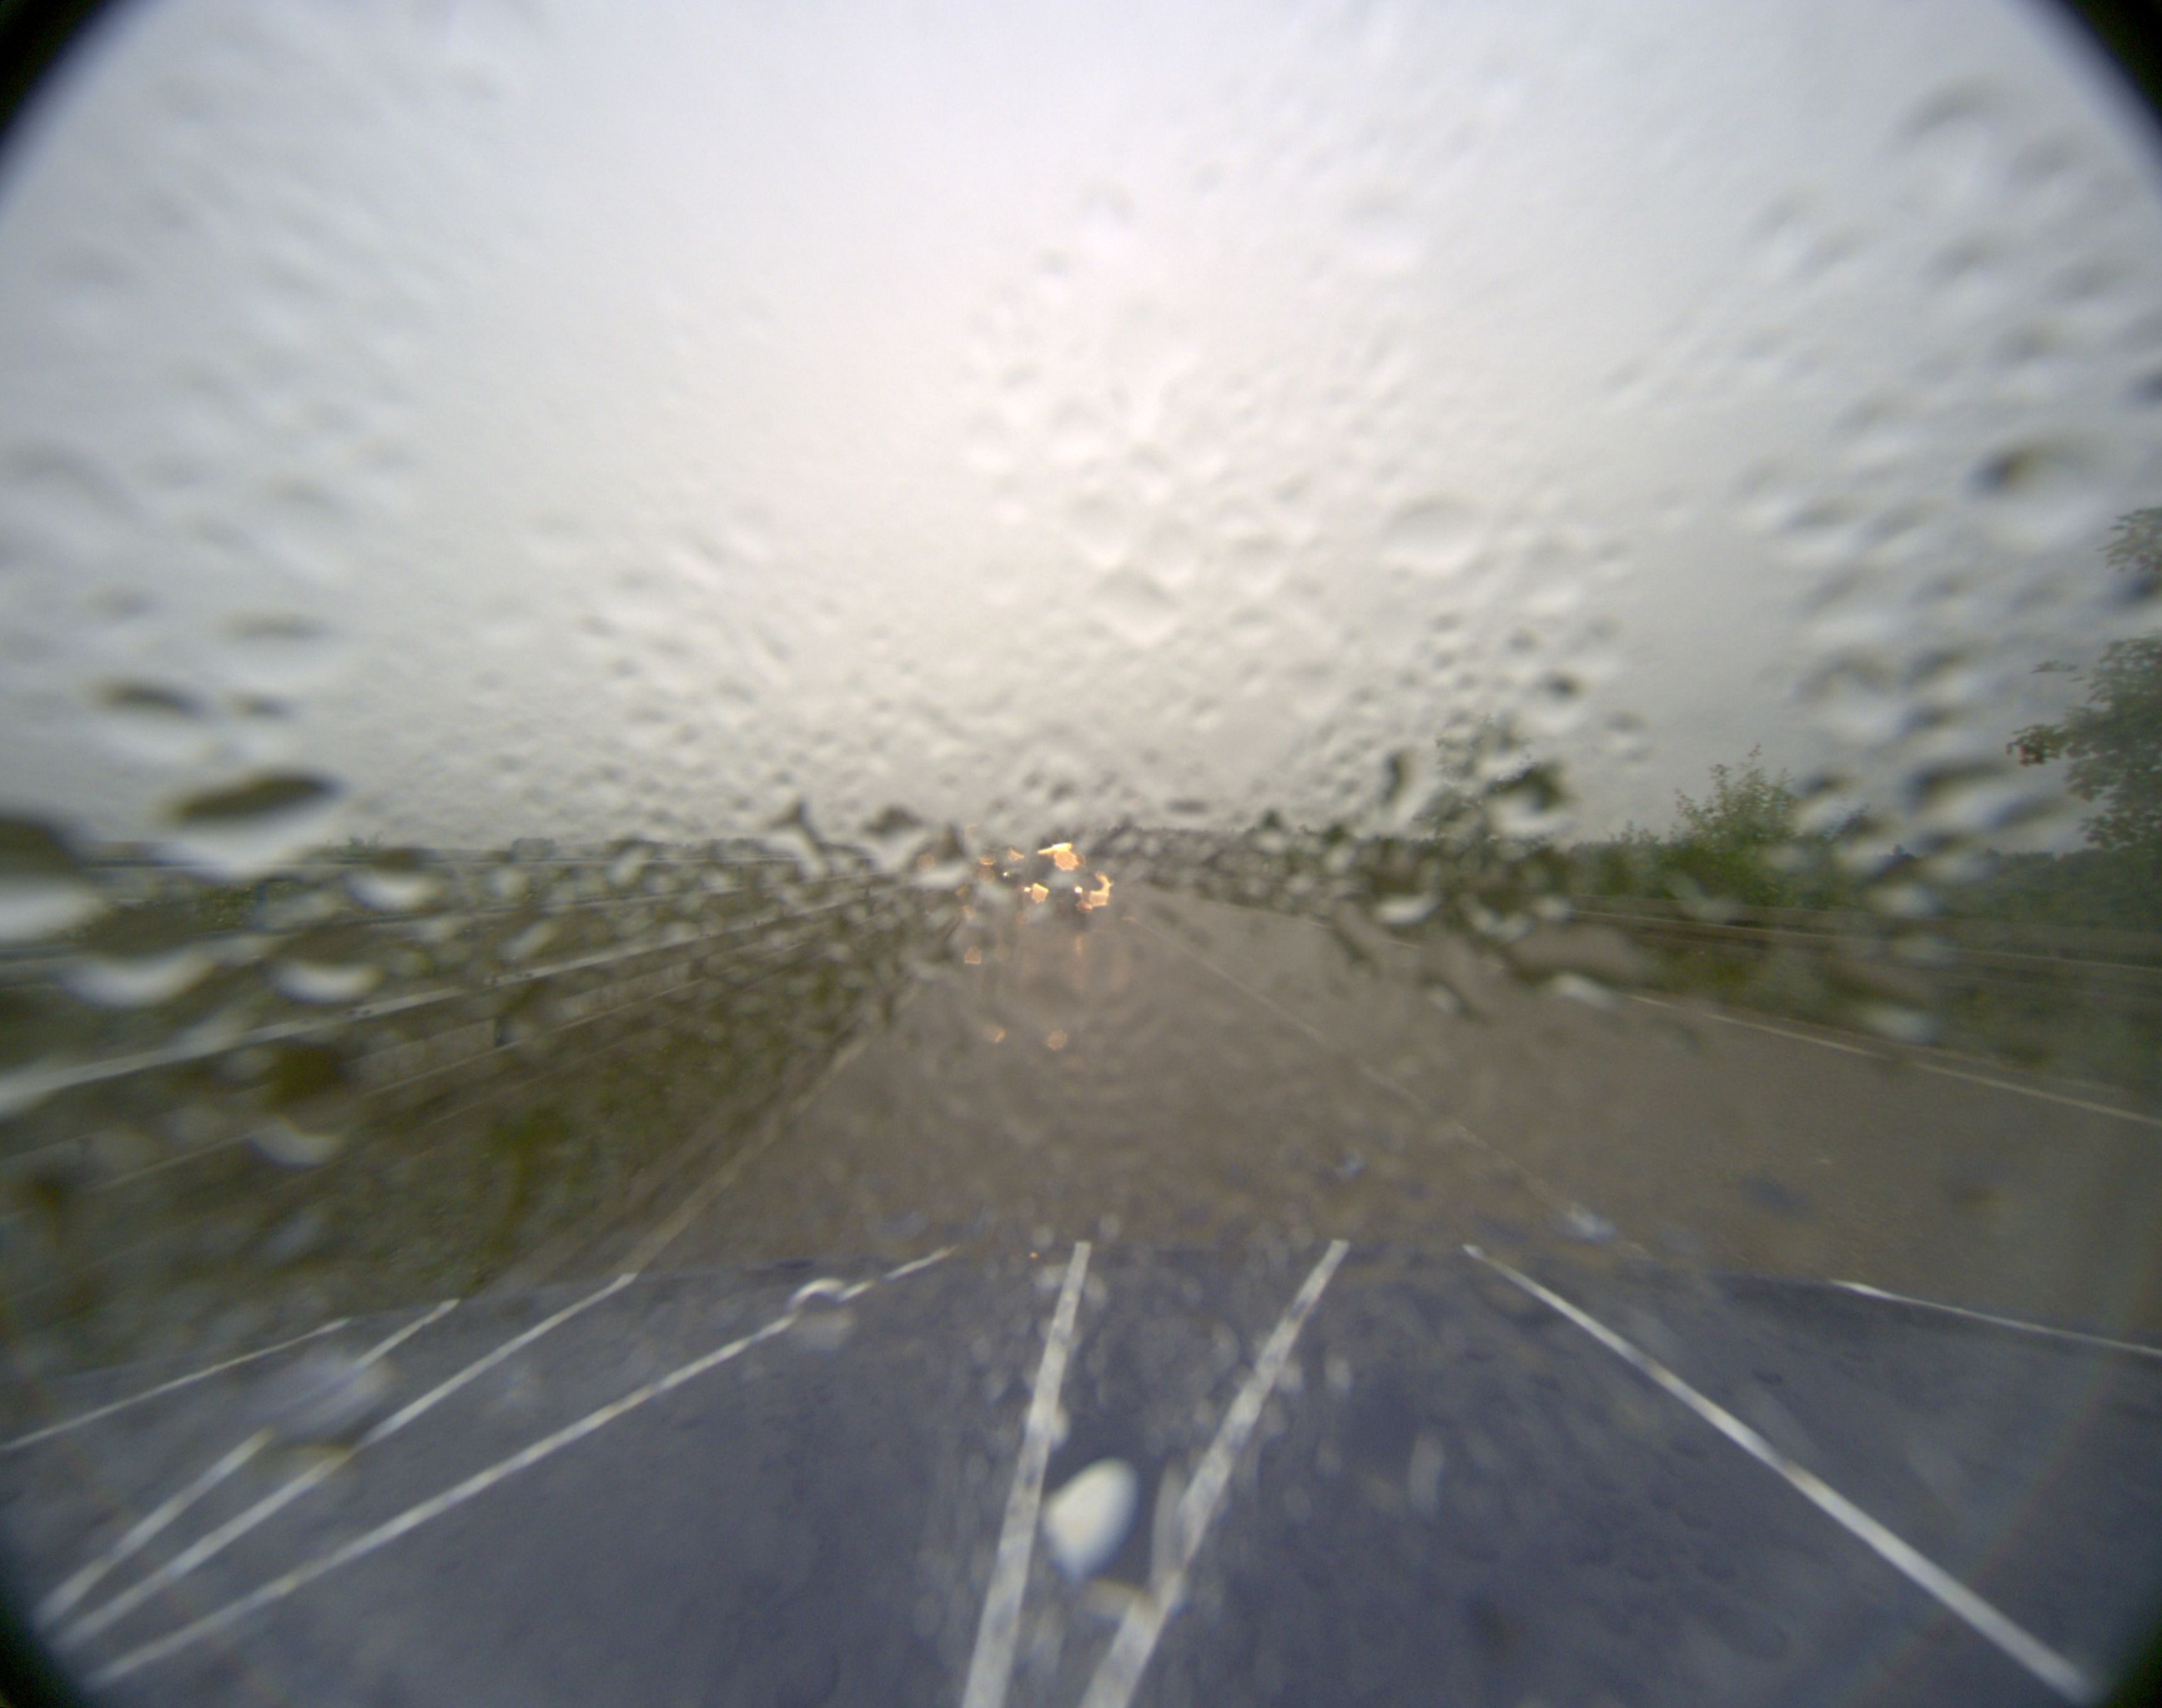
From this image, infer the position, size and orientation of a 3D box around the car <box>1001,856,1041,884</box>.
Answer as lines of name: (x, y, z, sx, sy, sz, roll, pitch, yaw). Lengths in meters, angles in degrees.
car: (-3.208, 0.799, 40.051, 1.820, 1.382, 4.066, -1, 0, -8)

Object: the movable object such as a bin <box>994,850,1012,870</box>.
movable object such as a bin: (-13.997, 1.148, 136.561, 2.758, 3.425, 4.639, 2, 0, -10)

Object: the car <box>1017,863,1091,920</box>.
car: (-0.793, 0.962, 20.969, 1.820, 1.382, 4.068, 0, 0, -3)

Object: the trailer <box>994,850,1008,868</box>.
trailer: (-18.847, 1.264, 178.493, 2.827, 3.946, 13.727, 1, -1, -8)
